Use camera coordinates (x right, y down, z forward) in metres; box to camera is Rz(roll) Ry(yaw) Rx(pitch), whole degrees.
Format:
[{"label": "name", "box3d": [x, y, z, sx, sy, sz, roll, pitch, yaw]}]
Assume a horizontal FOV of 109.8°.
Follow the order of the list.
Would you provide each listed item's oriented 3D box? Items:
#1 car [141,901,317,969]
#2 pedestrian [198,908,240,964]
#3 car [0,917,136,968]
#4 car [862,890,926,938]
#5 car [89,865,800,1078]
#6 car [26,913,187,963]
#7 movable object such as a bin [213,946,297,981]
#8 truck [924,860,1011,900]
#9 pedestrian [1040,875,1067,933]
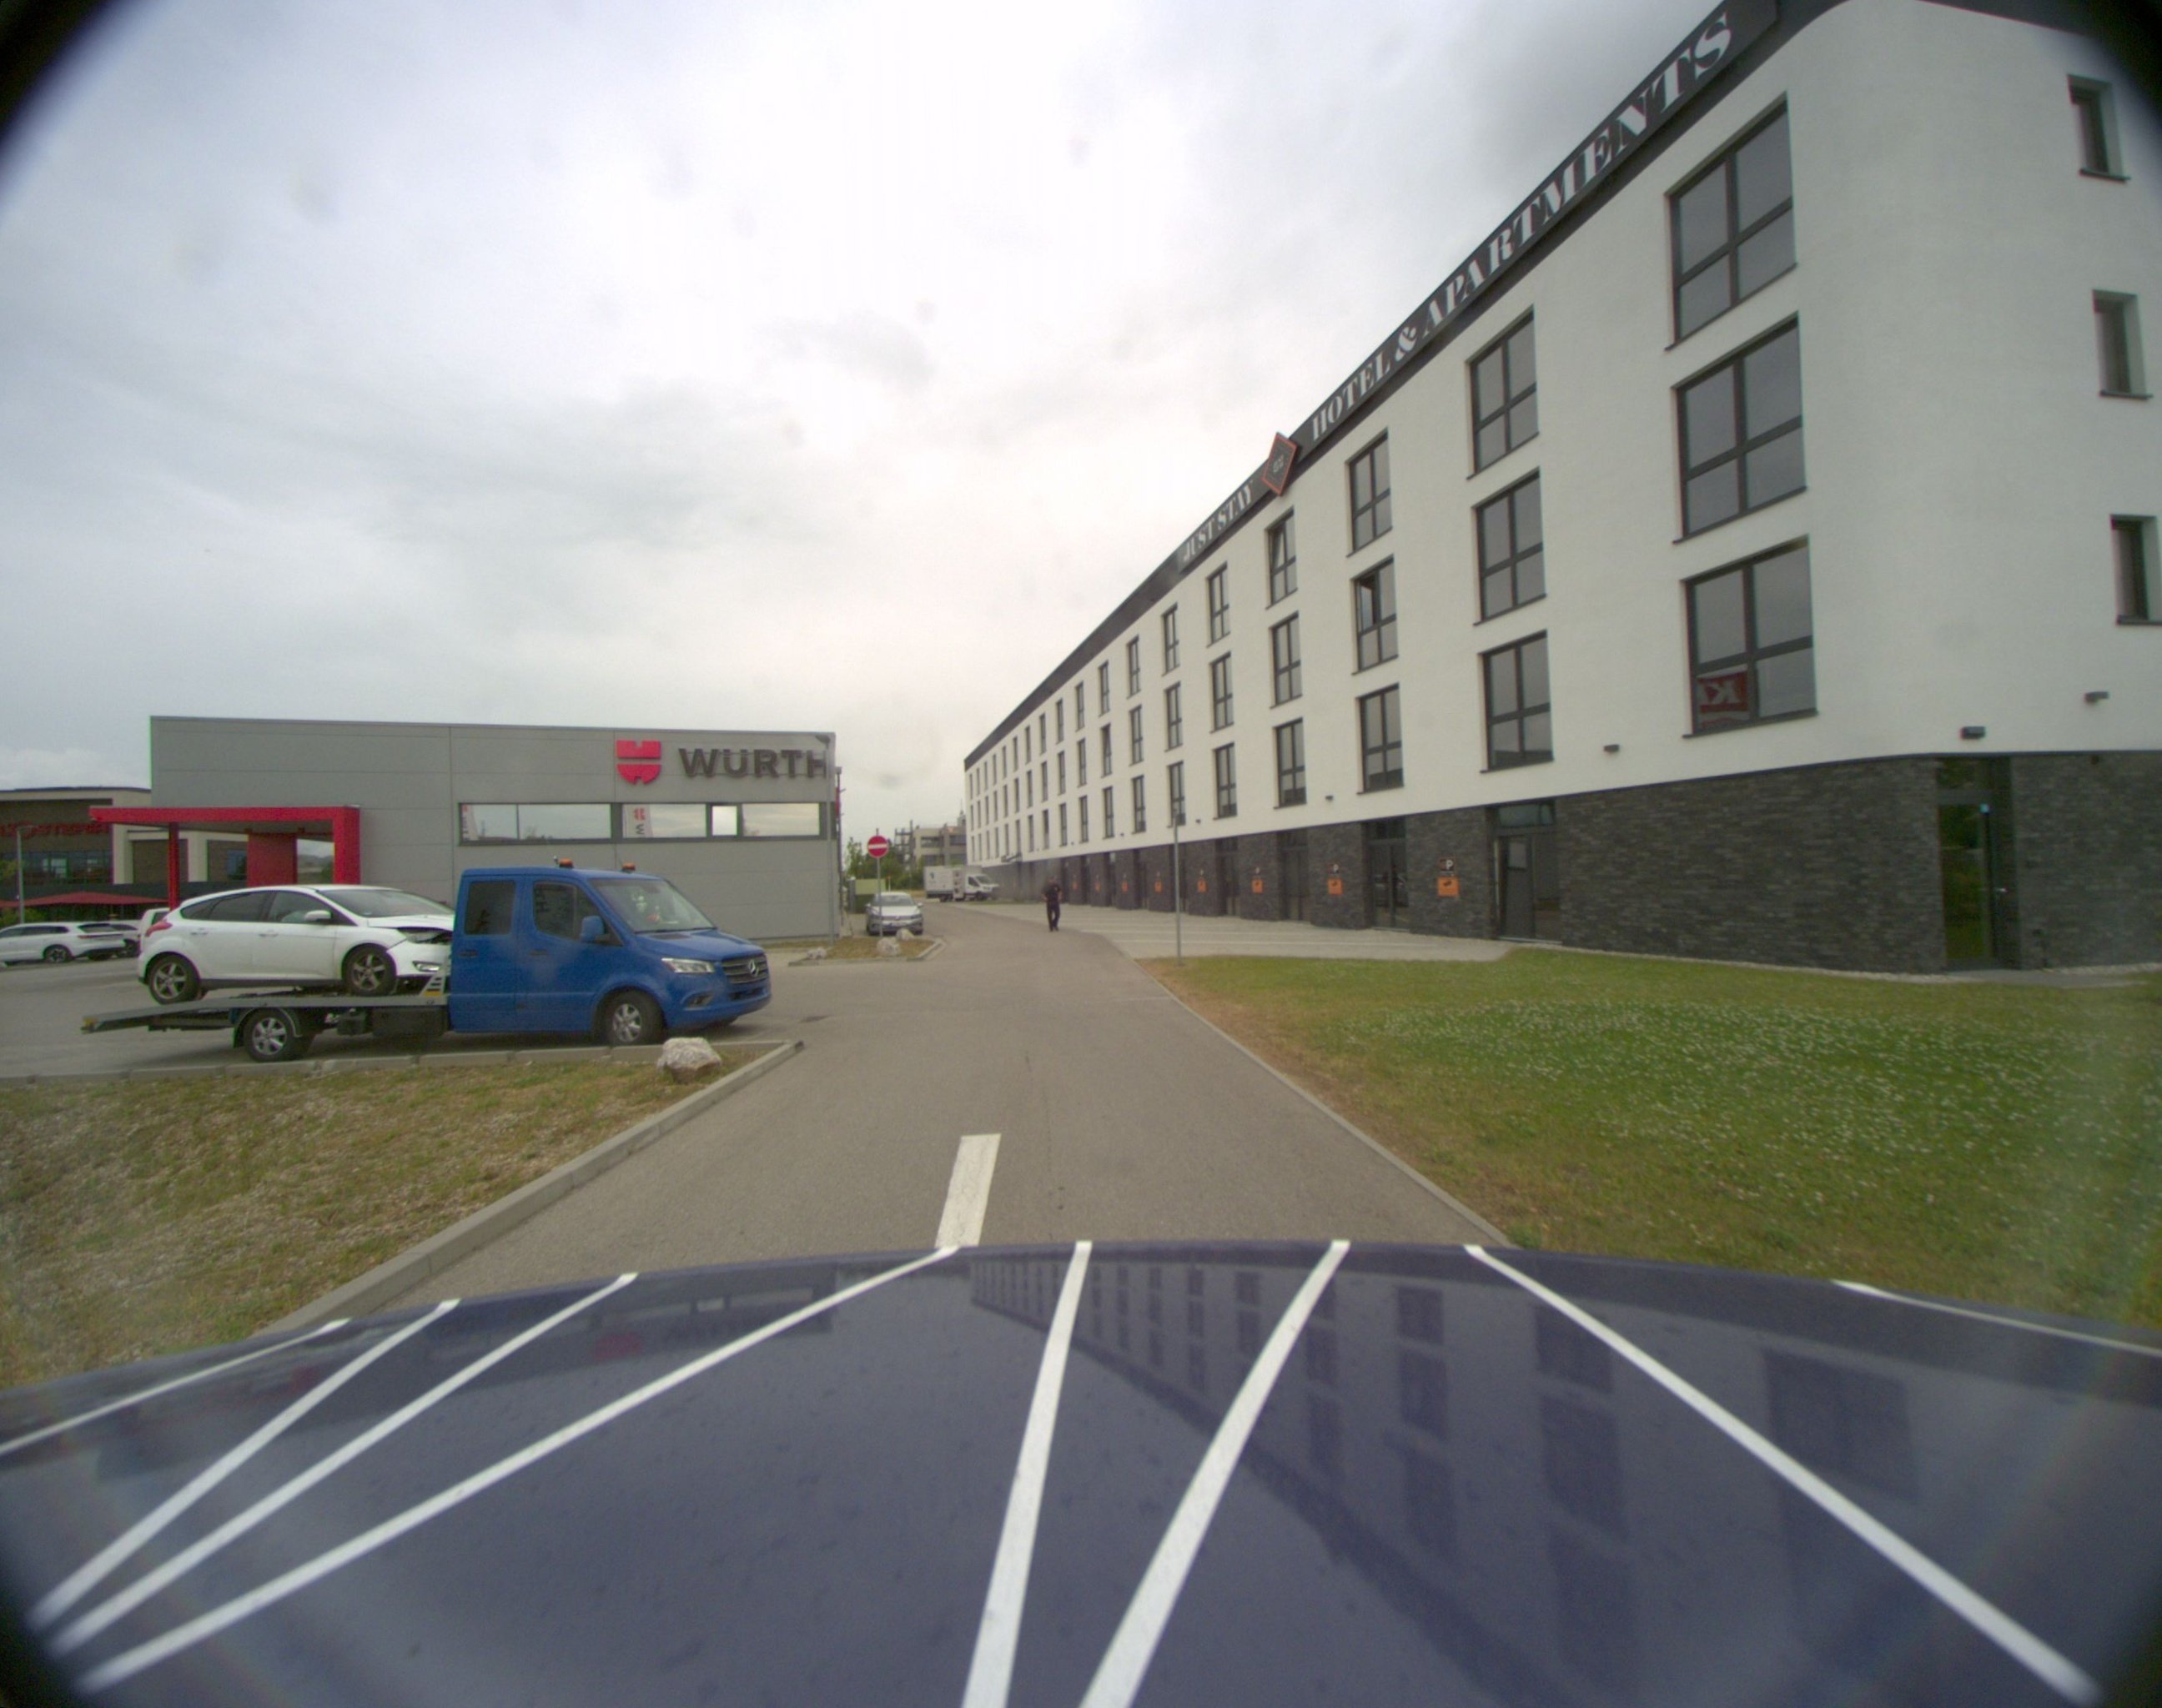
[{"label": "car", "box3d": [-29.406, 2.762, 26.358, 3.678, 1.967, 1.674, -2, 0, -16]}, {"label": "pedestrian", "box3d": [-28.646, 2.714, 25.247, 0.659, 1.796, 0.649, -1, -1, -15]}, {"label": "car", "box3d": [-42.400, 3.637, 30.951, 4.744, 1.738, 1.756, -2, -1, -15]}, {"label": "car", "box3d": [-6.718, 2.106, 27.679, 1.981, 1.482, 4.767, 0, -1, -10]}, {"label": "car", "box3d": [-7.983, 1.433, 9.932, 7.847, 2.308, 2.203, -2, -1, 5]}, {"label": "car", "box3d": [-43.288, 3.708, 33.876, 4.002, 1.848, 1.998, -2, -1, -15]}, {"label": "movable object such as a bin", "box3d": [-21.991, 2.903, 20.274, 0.804, 0.711, 1.583, -2, -1, -16]}, {"label": "truck", "box3d": [-9.299, 2.123, 61.823, 7.051, 2.998, 2.441, -3, 0, 34]}, {"label": "pedestrian", "box3d": [-0.901, 1.615, 24.779, 0.710, 1.811, 0.812, -2, -1, -12]}]
